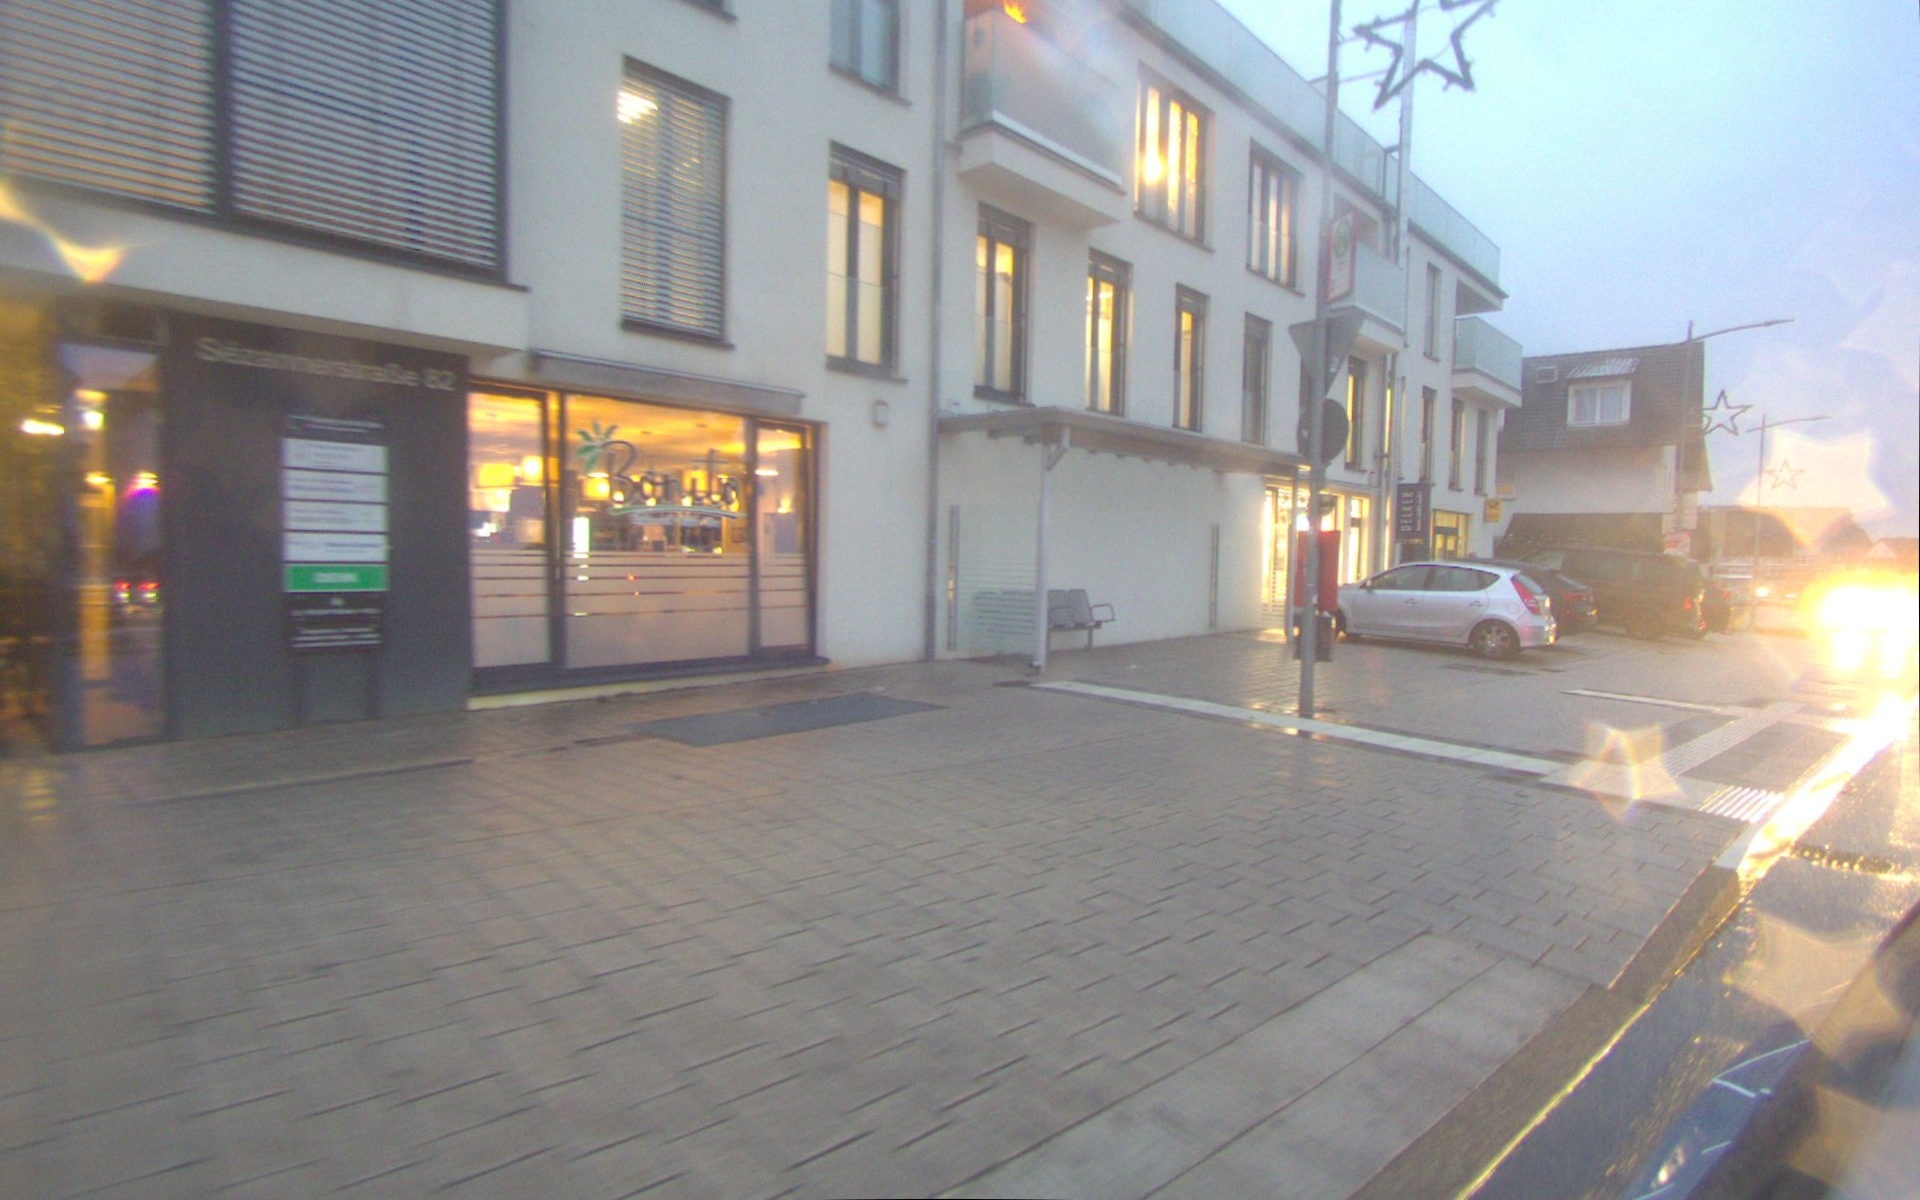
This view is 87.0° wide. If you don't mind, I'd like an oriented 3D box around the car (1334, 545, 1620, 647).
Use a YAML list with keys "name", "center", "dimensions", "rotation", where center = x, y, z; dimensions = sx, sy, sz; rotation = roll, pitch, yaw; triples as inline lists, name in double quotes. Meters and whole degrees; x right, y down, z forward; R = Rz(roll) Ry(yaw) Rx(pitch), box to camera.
- name: "car"
  center: [9.878, -0.162, 19.552]
  dimensions: [4.508, 1.510, 1.945]
  rotation: [7, 5, 42]

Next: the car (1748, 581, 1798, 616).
- name: "car"
  center: [40.906, -0.099, 50.969]
  dimensions: [1.840, 1.605, 3.717]
  rotation: [3, 2, 38]

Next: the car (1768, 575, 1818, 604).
- name: "car"
  center: [56.660, -0.729, 68.885]
  dimensions: [1.708, 1.835, 4.099]
  rotation: [2, 2, 27]

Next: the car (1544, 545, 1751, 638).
- name: "car"
  center: [17.745, -0.283, 26.268]
  dimensions: [4.135, 1.652, 1.731]
  rotation: [13, 8, 36]

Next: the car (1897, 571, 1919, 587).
- name: "car"
  center: [92.528, -2.033, 97.729]
  dimensions: [1.783, 1.486, 4.218]
  rotation: [3, 3, 27]

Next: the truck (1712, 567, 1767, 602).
- name: "truck"
  center: [54.301, -1.118, 70.599]
  dimensions: [2.231, 2.258, 6.039]
  rotation: [2, 2, 31]

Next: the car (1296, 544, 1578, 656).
- name: "car"
  center: [7.987, -0.100, 17.089]
  dimensions: [3.978, 1.521, 1.791]
  rotation: [5, 5, 36]

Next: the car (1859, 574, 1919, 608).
- name: "car"
  center: [59.247, -0.610, 64.393]
  dimensions: [1.981, 2.038, 3.964]
  rotation: [2, 2, 26]

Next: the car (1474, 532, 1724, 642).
- name: "car"
  center: [14.977, -0.390, 23.892]
  dimensions: [4.543, 1.956, 1.945]
  rotation: [10, 7, 42]

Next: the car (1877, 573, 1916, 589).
- name: "car"
  center: [94.849, -1.954, 102.500]
  dimensions: [1.784, 1.486, 4.216]
  rotation: [3, 3, 28]

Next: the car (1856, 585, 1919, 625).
- name: "car"
  center: [38.976, 0.160, 42.540]
  dimensions: [1.827, 1.563, 3.662]
  rotation: [2, 2, 40]
